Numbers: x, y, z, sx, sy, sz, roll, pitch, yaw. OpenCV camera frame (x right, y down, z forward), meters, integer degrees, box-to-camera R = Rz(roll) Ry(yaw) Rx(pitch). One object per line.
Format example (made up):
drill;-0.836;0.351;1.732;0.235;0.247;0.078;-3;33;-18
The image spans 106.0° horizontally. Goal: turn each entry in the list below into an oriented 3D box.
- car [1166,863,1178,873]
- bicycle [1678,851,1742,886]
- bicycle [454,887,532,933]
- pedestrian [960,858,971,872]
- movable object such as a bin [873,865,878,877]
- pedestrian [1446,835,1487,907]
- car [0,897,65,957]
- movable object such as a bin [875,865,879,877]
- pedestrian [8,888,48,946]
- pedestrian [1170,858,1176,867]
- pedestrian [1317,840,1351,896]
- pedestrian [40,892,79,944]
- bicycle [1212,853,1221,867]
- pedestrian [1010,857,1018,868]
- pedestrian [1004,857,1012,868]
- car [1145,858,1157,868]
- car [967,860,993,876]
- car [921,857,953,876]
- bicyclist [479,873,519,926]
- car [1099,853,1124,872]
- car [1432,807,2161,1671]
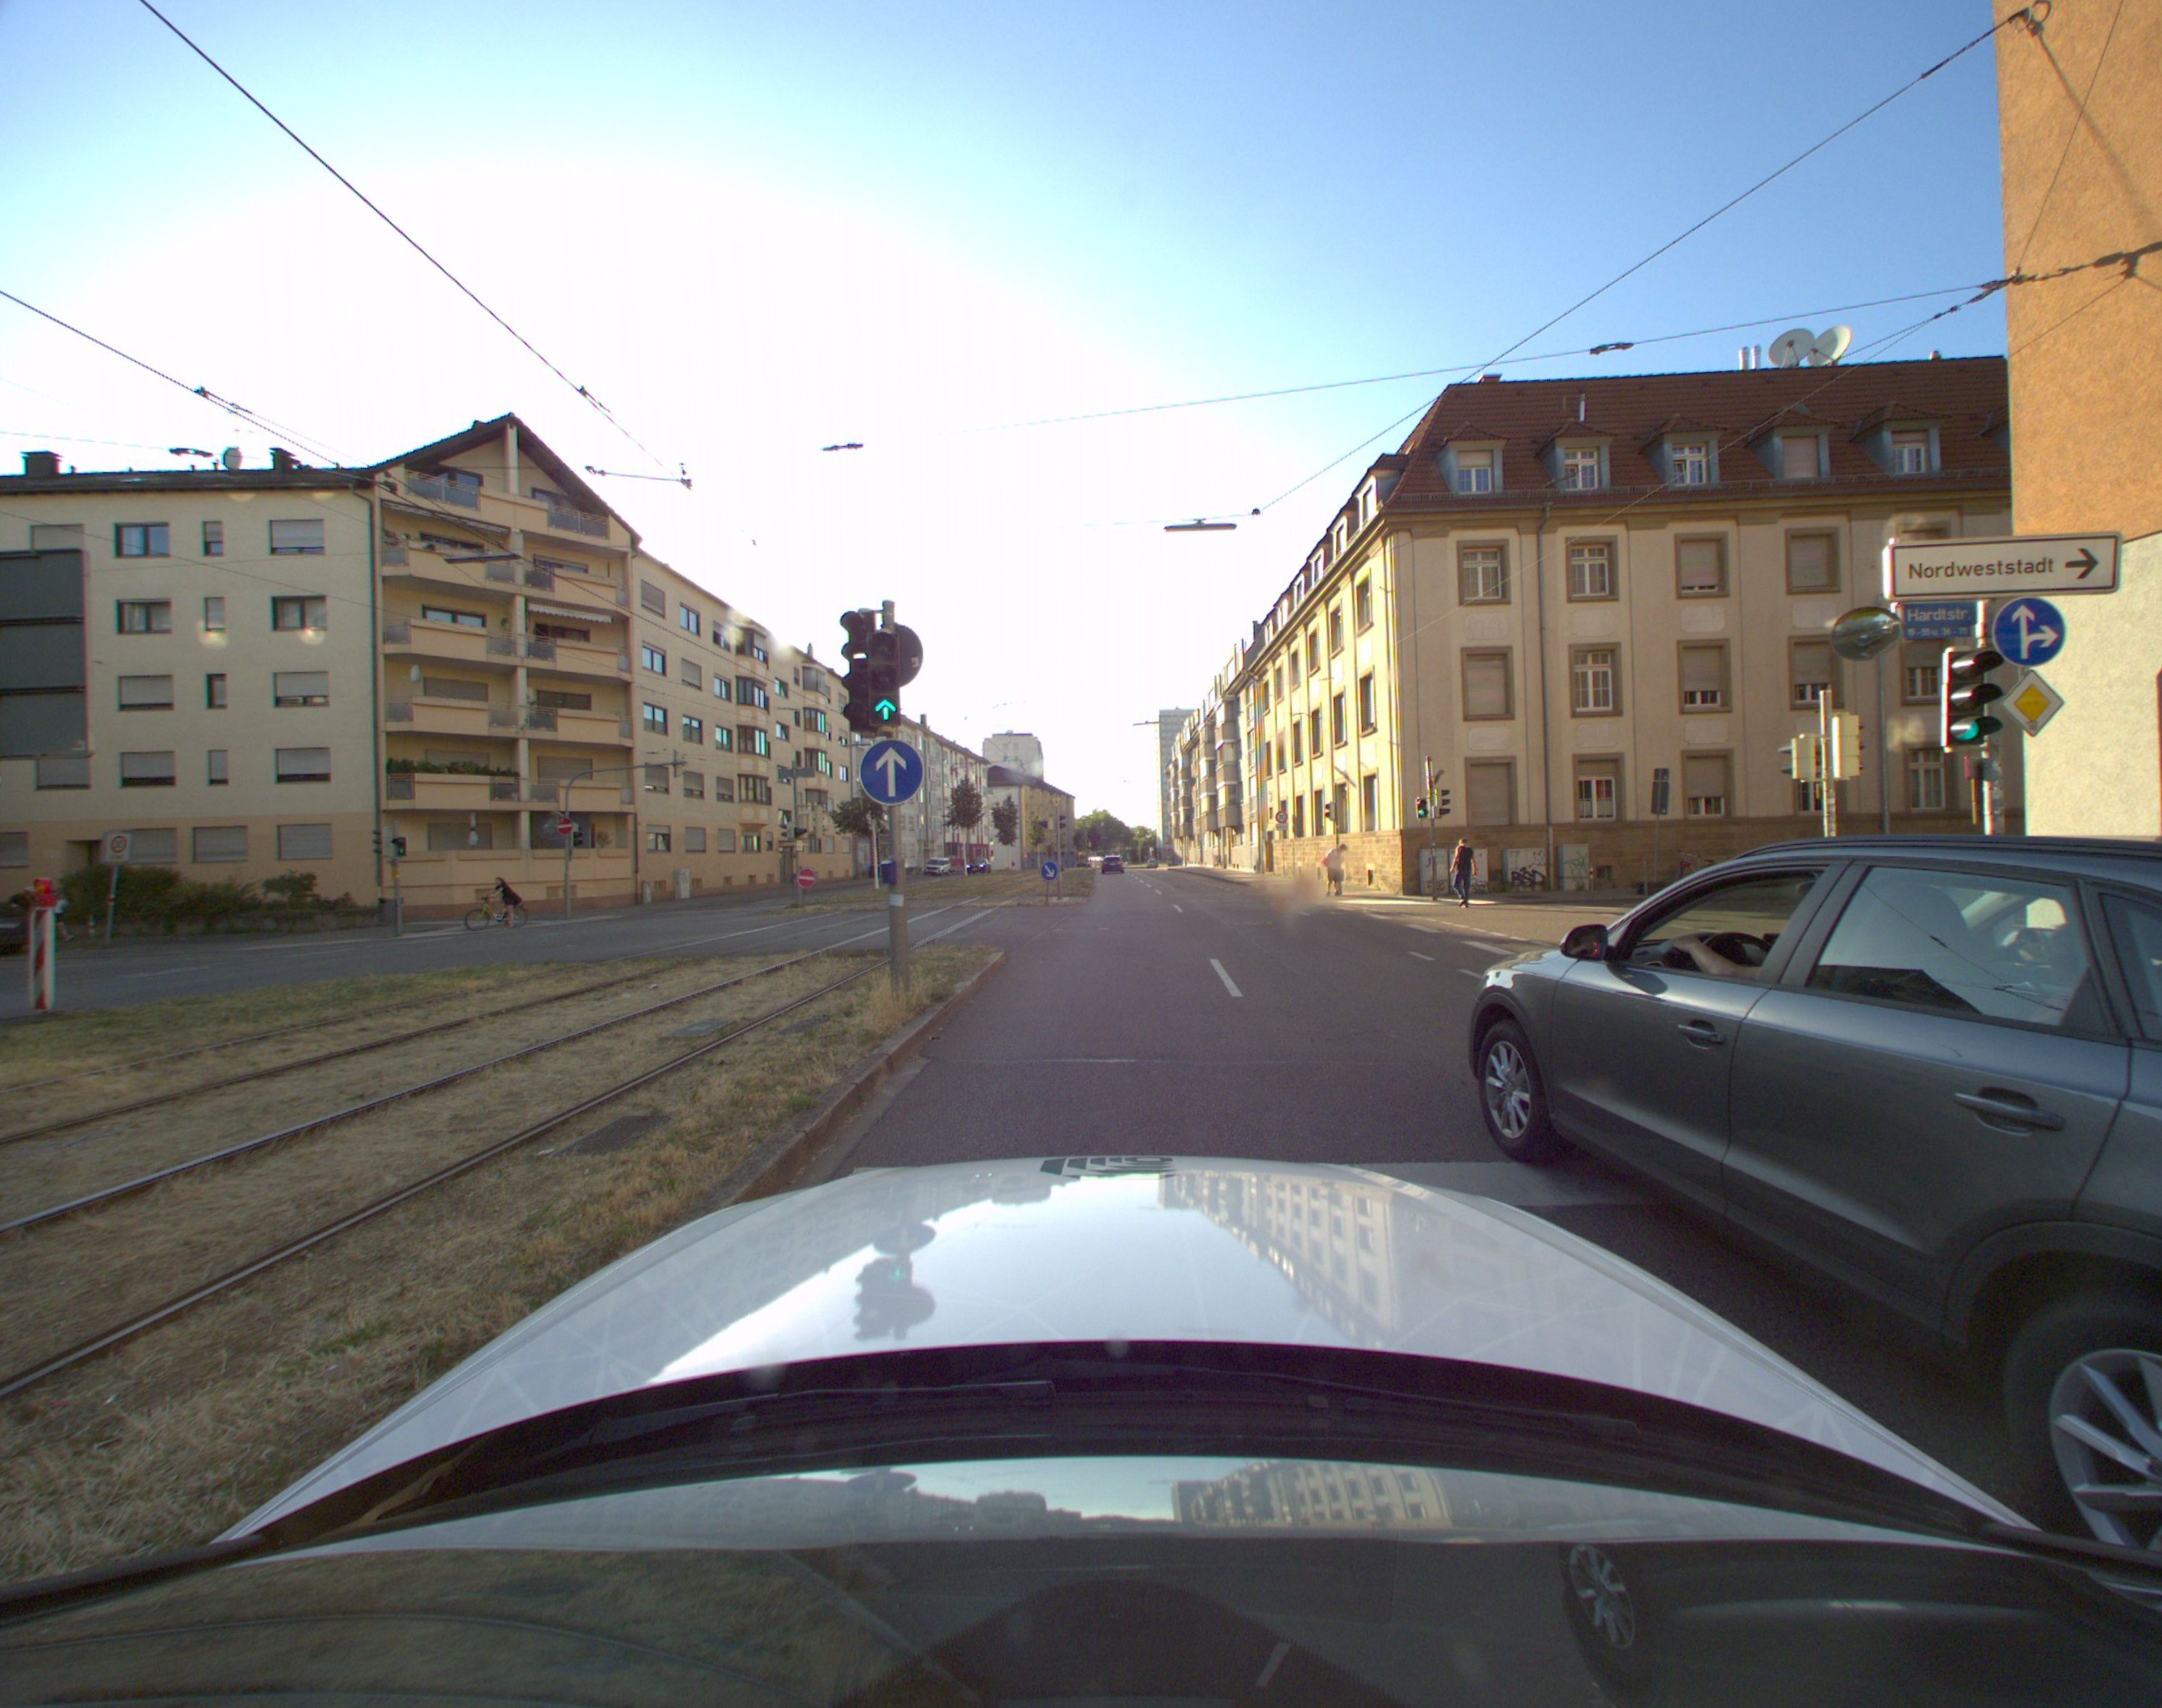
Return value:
car;18.669;2.898;167.377;1.986;2.013;4.001;-2;0;2
bicycle;18.424;0.422;23.876;1.491;1.018;0.251;-1;-1;17
bicycle;-18.185;1.717;25.225;0.450;1.257;1.883;-1;0;34
pedestrian;-14.505;1.336;102.438;1.268;1.761;1.271;0;-1;-8
movable object such as a bin;-17.385;1.428;68.792;0.297;1.036;0.441;0;-1;1
pedestrian;9.604;0.416;20.309;0.627;1.758;0.826;0;-1;1
car;-30.169;2.025;21.405;3.983;1.442;1.996;-2;2;-7
movable object such as a bin;-17.353;1.421;69.271;0.297;1.036;0.441;0;-1;1
pedestrian;-31.233;1.858;24.157;0.587;1.705;0.464;-1;-1;7
pedestrian;13.116;1.238;115.975;0.688;1.234;0.737;-1;-1;2
pedestrian;8.117;0.438;26.178;0.832;1.762;0.824;0;-1;1
pedestrian;-31.067;1.942;24.770;0.546;1.552;0.517;-1;0;7
bicycle;10.303;0.467;61.963;0.382;1.096;1.503;-2;-1;0
pedestrian;-10.664;1.386;129.543;0.957;1.670;1.013;-1;-1;7
pedestrian;-11.548;1.387;129.033;0.957;1.694;1.013;-1;-1;7
car;11.798;1.511;137.306;1.985;1.564;4.004;-1;-1;4
car;-10.727;1.476;86.779;1.890;1.633;4.750;-2;0;2
car;-14.478;1.259;82.057;1.984;1.925;4.548;-1;-1;5
bicyclist;-18.125;1.391;25.373;0.620;1.586;0.814;-1;0;35
car;2.486;0.651;65.339;1.918;1.456;4.330;-1;-1;3
car;2.849;0.690;2.744;1.690;1.552;4.228;0;0;3
